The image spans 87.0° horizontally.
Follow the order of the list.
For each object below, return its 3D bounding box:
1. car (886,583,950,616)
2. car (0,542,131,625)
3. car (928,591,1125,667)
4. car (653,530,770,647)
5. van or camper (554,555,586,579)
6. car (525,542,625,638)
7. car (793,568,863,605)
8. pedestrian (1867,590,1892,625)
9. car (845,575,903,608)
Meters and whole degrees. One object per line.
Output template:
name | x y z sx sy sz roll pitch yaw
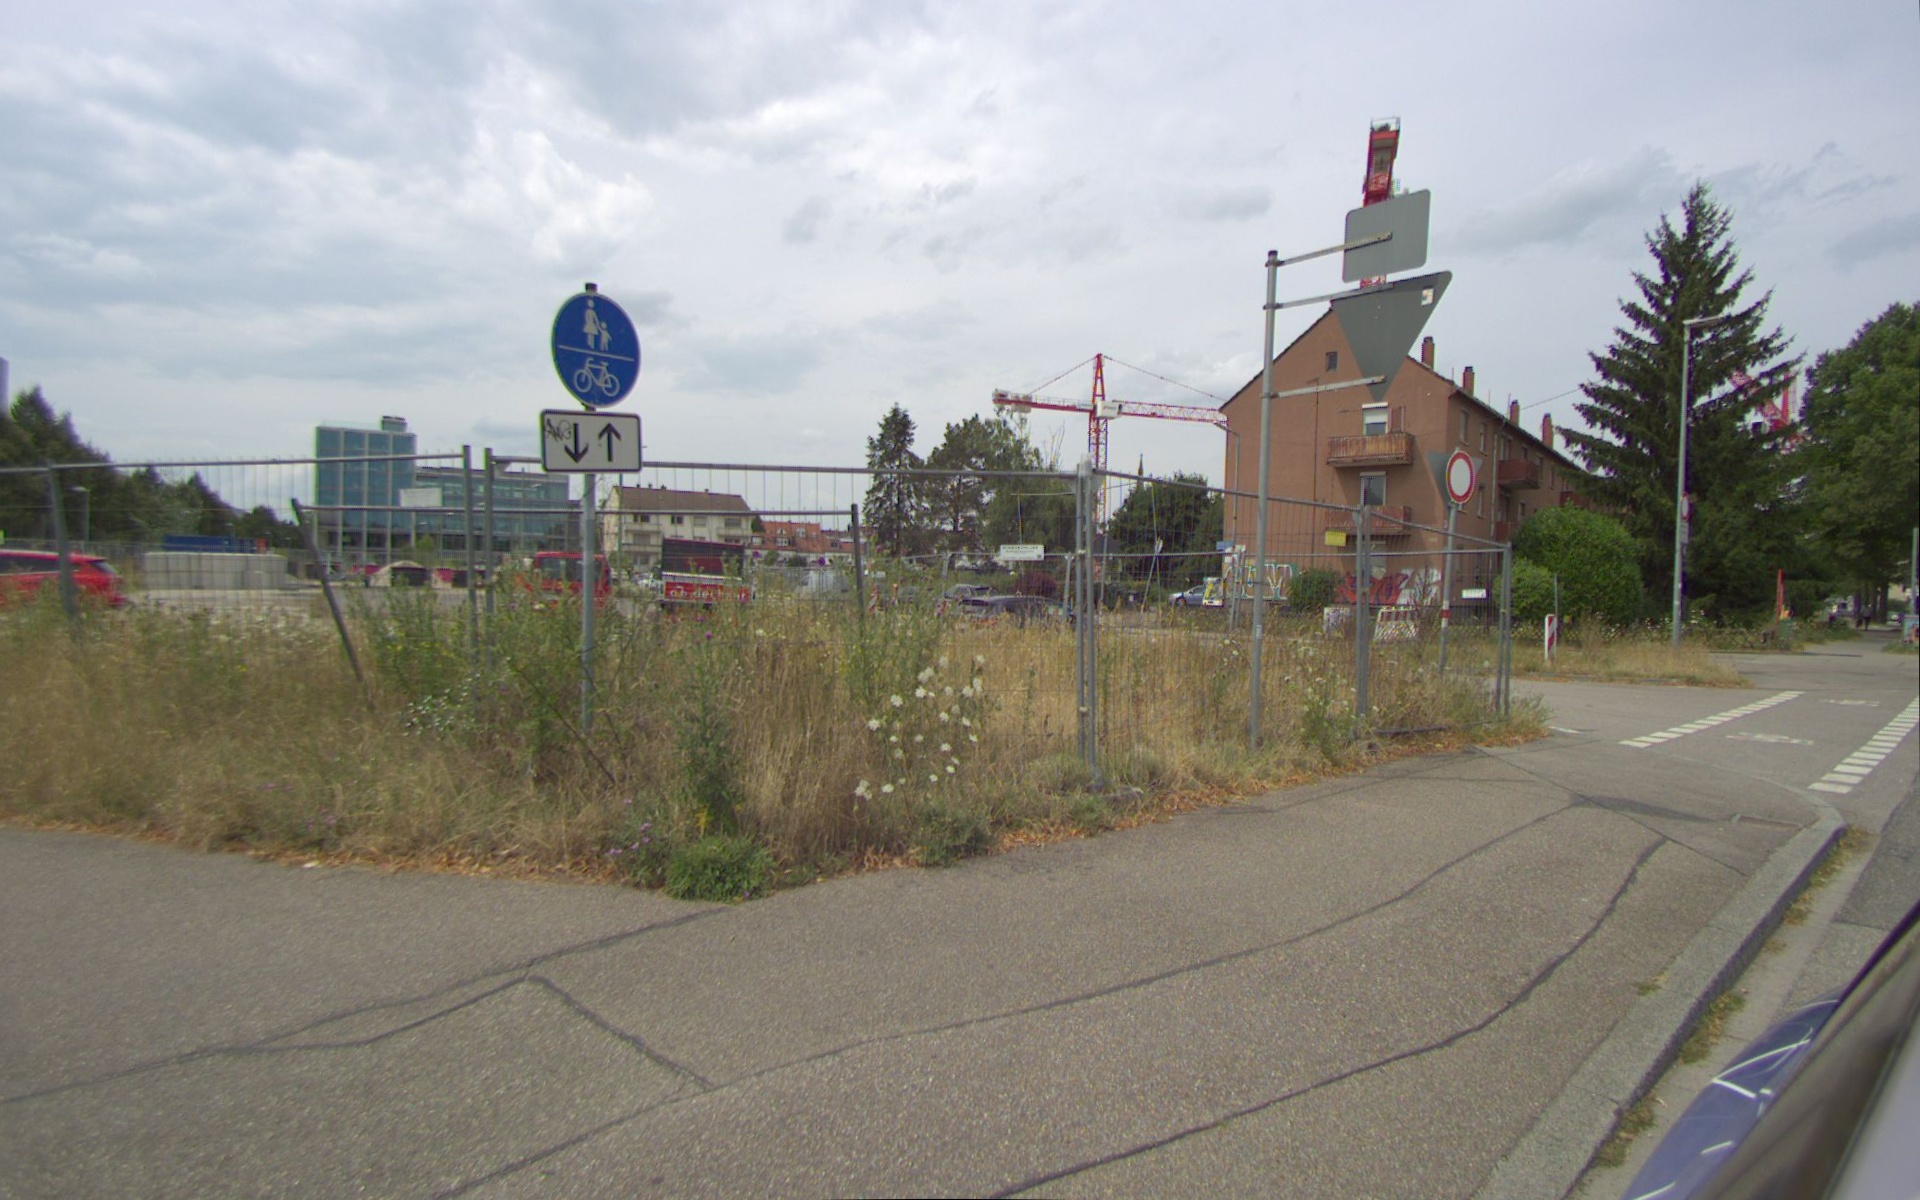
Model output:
car | -2.242 -0.049 53.044 1.765 1.622 4.020 1 1 -28
car | -19.917 -0.354 20.233 5.043 1.624 1.789 1 1 -37
car | 1.512 0.586 22.253 4.179 1.492 1.767 1 1 -37
car | -6.194 -0.310 24.592 2.269 2.442 6.557 1 1 -18
van or camper | -45.948 -3.870 119.185 2.307 2.721 5.247 1 1 -34
car | -9.049 -0.258 24.065 1.896 1.934 4.999 4 0 -19
car | -8.134 -0.835 62.080 2.107 2.163 4.909 1 1 -36
pedestrian | 54.206 0.438 59.665 0.847 2.039 0.725 2 0 26
car | -4.912 -0.528 57.396 1.820 1.771 4.019 1 1 -29
